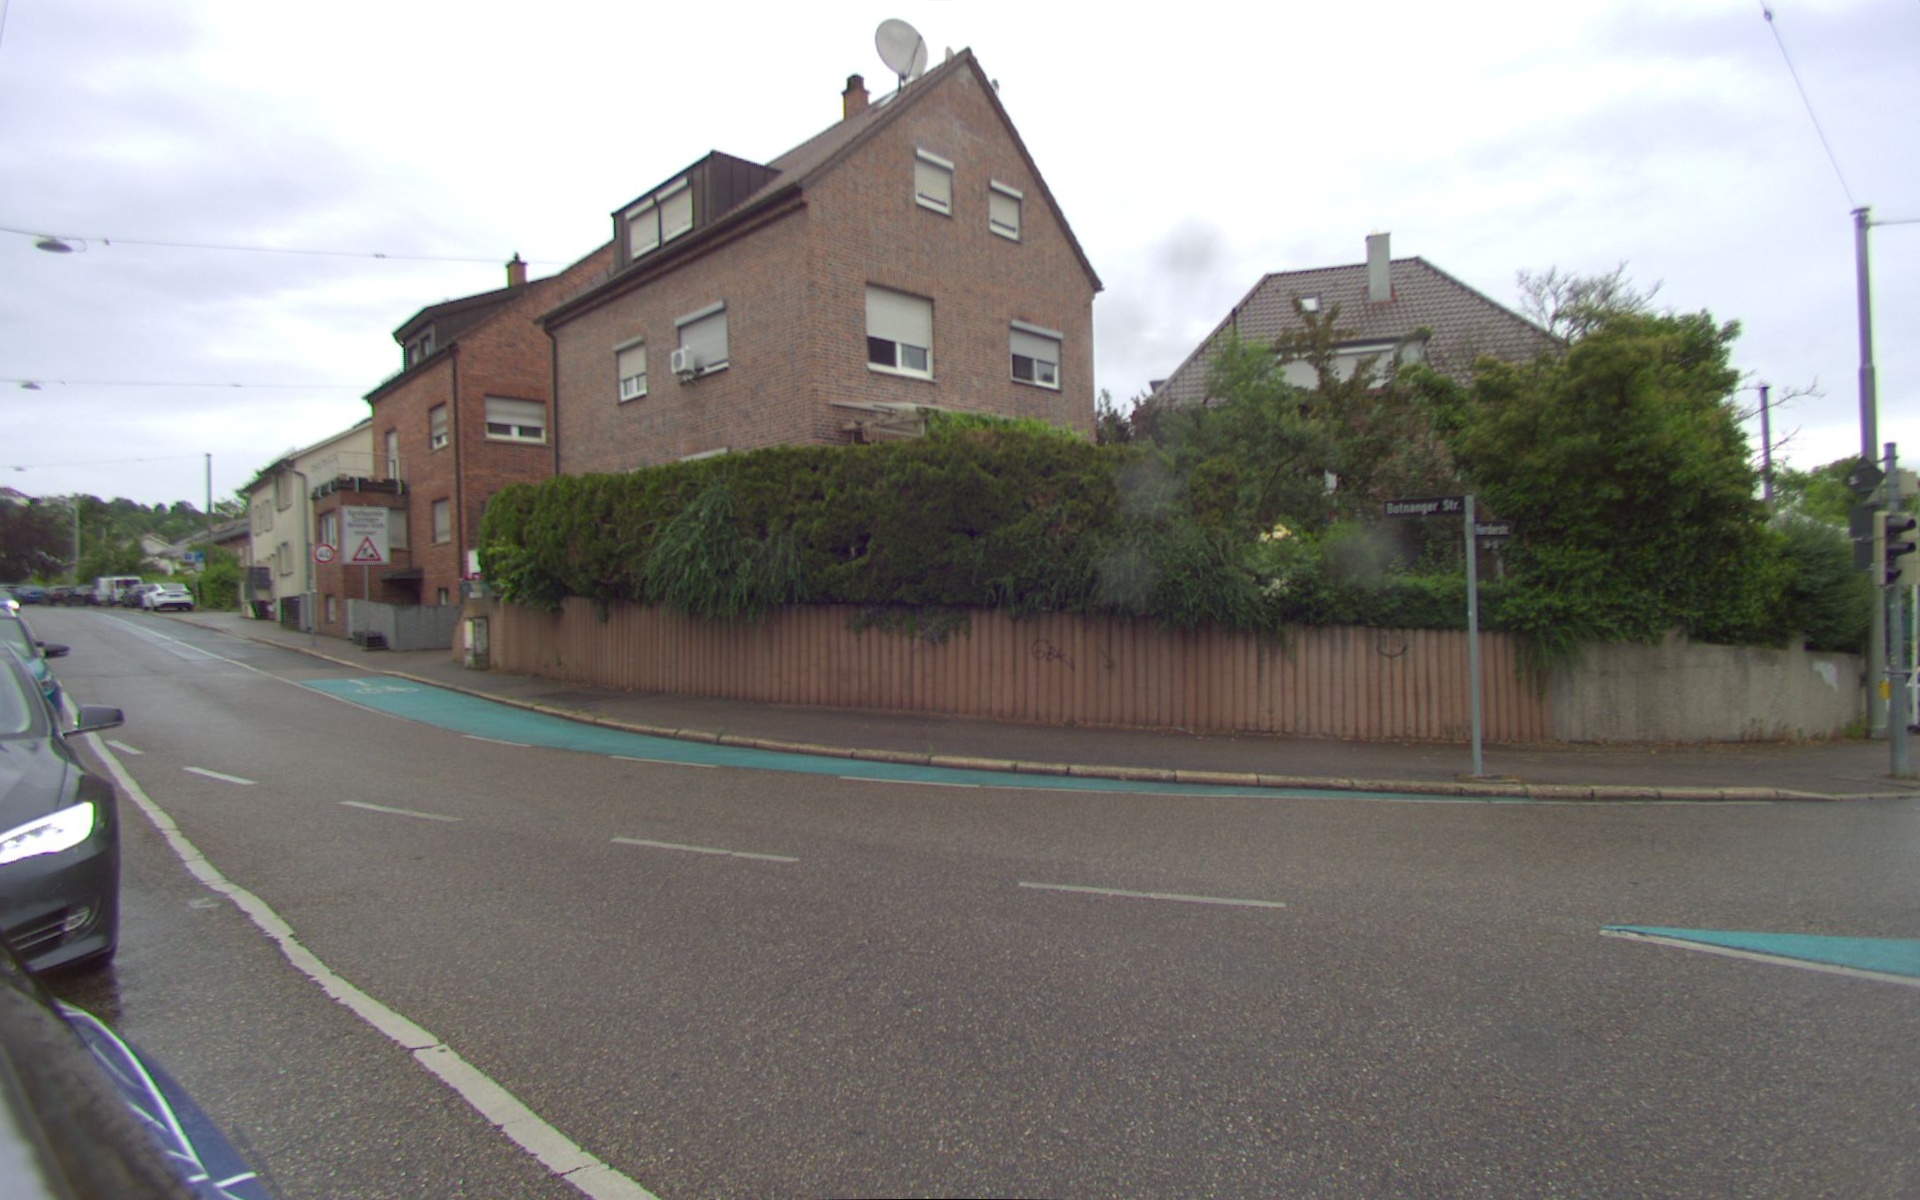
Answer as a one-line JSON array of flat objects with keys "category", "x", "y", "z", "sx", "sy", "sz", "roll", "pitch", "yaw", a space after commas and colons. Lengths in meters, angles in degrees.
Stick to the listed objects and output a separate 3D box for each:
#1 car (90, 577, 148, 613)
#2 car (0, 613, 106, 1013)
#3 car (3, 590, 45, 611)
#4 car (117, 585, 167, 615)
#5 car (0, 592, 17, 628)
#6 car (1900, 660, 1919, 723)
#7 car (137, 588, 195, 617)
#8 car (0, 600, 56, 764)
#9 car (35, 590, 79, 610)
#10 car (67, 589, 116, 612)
[{"category": "car", "x": -57.011, "y": -0.327, "z": 68.594, "sx": 4.544, "sy": 2.303, "sz": 2.229, "roll": 0, "pitch": 2, "yaw": 41}, {"category": "car", "x": -5.362, "y": 0.798, "z": 4.664, "sx": 4.002, "sy": 1.426, "sz": 1.845, "roll": 0, "pitch": 0, "yaw": 45}, {"category": "car", "x": -71.312, "y": 0.037, "z": 77.125, "sx": 3.895, "sy": 1.501, "sz": 1.605, "roll": -1, "pitch": 2, "yaw": 36}, {"category": "car", "x": -52.365, "y": -0.017, "z": 64.736, "sx": 4.262, "sy": 1.817, "sz": 1.791, "roll": 0, "pitch": 2, "yaw": 42}, {"category": "car", "x": -50.819, "y": 0.552, "z": 53.093, "sx": 4.001, "sy": 1.744, "sz": 1.792, "roll": -3, "pitch": -2, "yaw": 44}, {"category": "car", "x": 25.827, "y": 2.302, "z": 24.927, "sx": 1.837, "sy": 1.644, "sz": 4.297, "roll": -2, "pitch": -3, "yaw": 11}, {"category": "car", "x": -46.417, "y": 0.155, "z": 59.142, "sx": 4.262, "sy": 1.577, "sz": 1.921, "roll": 0, "pitch": 2, "yaw": 42}, {"category": "car", "x": -11.059, "y": 0.807, "z": 10.899, "sx": 3.785, "sy": 1.601, "sz": 1.765, "roll": 0, "pitch": 0, "yaw": 45}, {"category": "car", "x": -66.644, "y": 0.015, "z": 74.704, "sx": 3.854, "sy": 1.407, "sz": 1.634, "roll": -1, "pitch": 2, "yaw": 36}, {"category": "car", "x": -61.467, "y": 0.051, "z": 71.611, "sx": 4.002, "sy": 1.501, "sz": 1.636, "roll": -1, "pitch": 2, "yaw": 34}]
